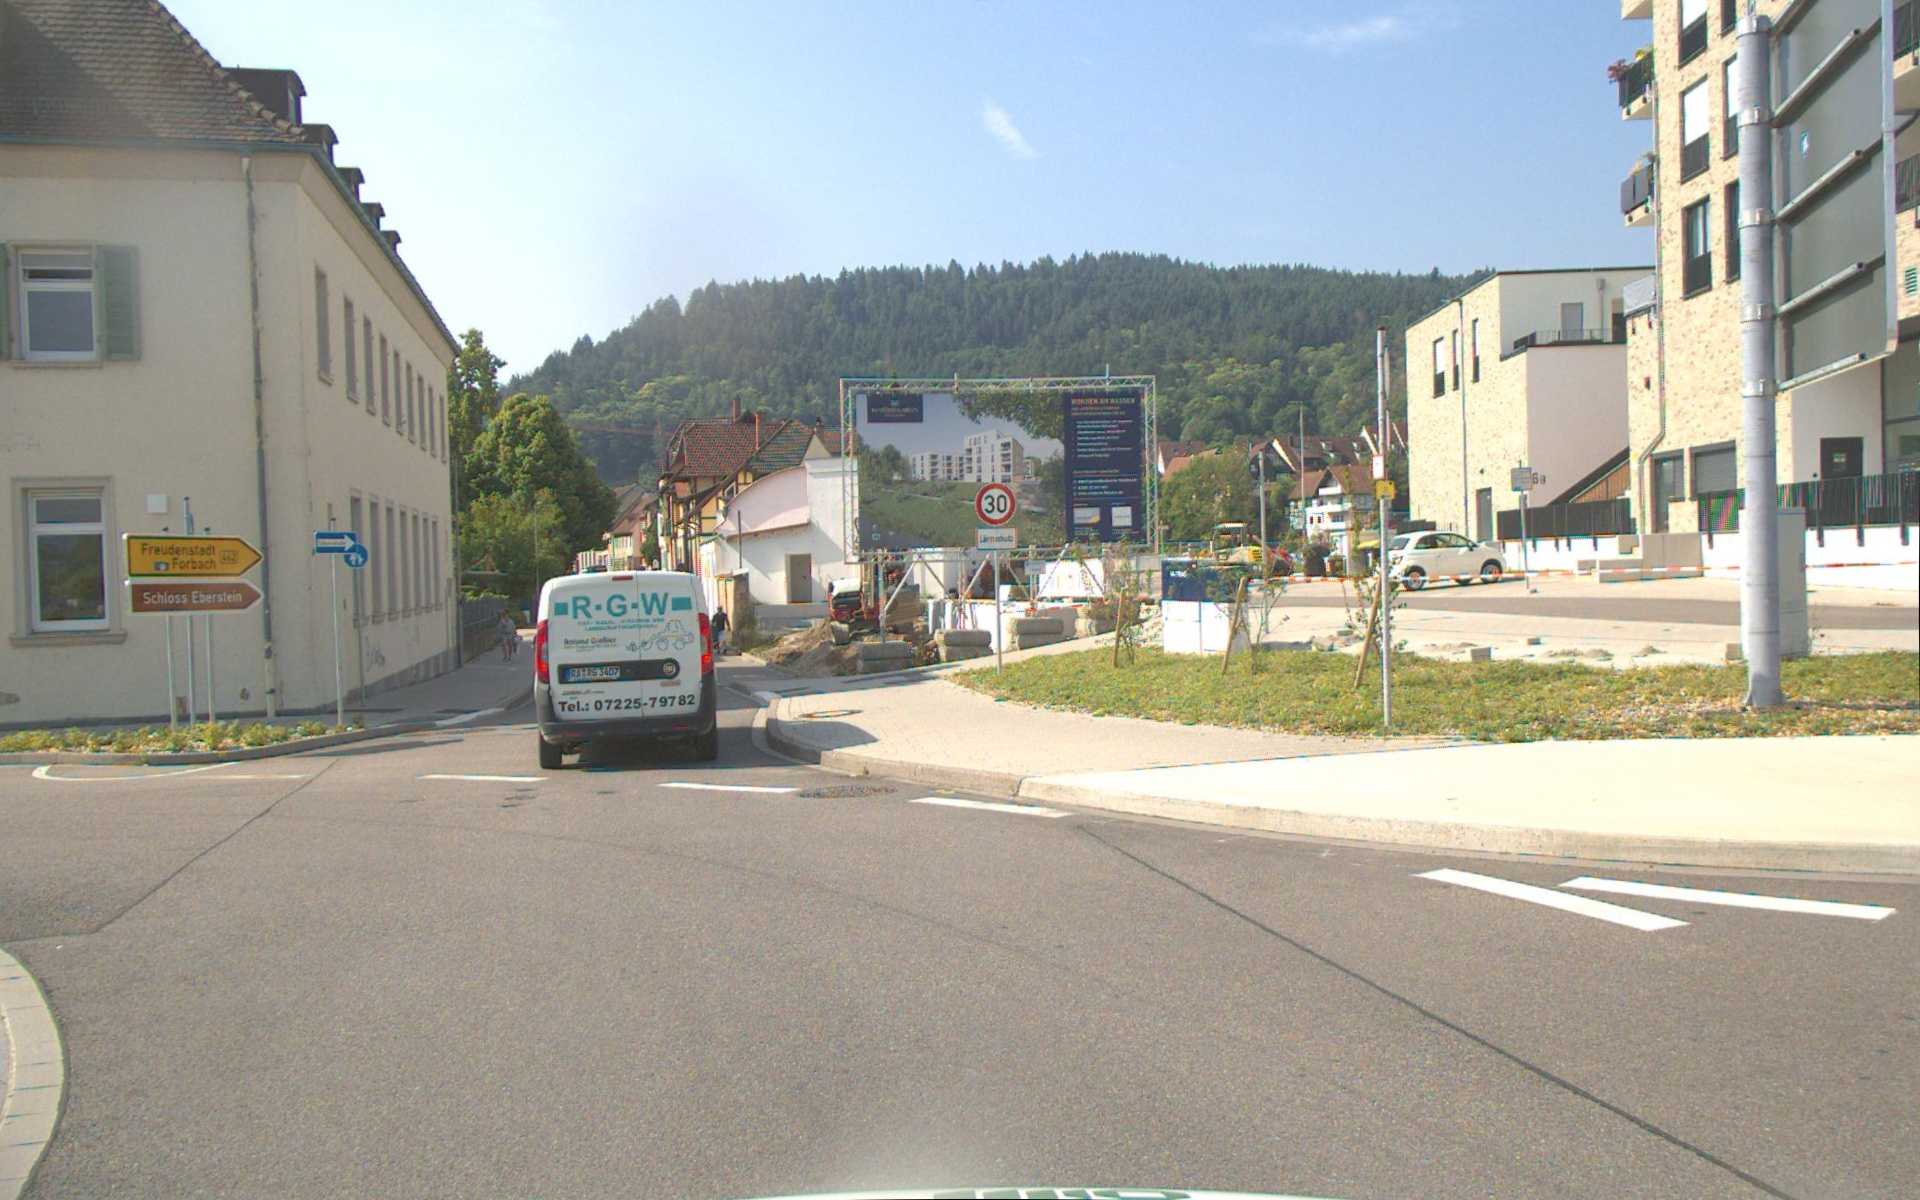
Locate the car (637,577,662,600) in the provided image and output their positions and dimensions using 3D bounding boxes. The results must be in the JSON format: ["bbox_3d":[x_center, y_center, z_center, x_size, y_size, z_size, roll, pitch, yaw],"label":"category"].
[{"bbox_3d":[-23.202,-0.845,123.558,1.779,1.624,3.915,0,1,-12],"label":"car"}]

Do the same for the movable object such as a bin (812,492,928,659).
[{"bbox_3d":[-2.452,-0.609,42.707,2.252,3.921,7.783,0,0,-8],"label":"movable object such as a bin"}]

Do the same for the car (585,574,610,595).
[{"bbox_3d":[-29.957,-1.274,136.496,1.781,1.624,3.910,0,1,-16],"label":"car"}]

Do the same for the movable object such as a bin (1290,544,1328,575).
[{"bbox_3d":[14.661,-1.702,69.532,1.270,1.290,1.320,0,2,-3],"label":"movable object such as a bin"}]

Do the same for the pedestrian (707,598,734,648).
[{"bbox_3d":[-8.343,0.801,57.681,0.873,1.712,0.716,0,0,-13],"label":"pedestrian"}]

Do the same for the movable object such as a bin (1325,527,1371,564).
[{"bbox_3d":[15.852,-2.210,67.622,1.548,1.489,1.320,0,2,-3],"label":"movable object such as a bin"}]

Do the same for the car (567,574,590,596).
[{"bbox_3d":[-52.200,-2.072,226.148,2.827,2.884,6.101,-3,2,-14],"label":"car"}]

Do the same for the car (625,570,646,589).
[{"bbox_3d":[-29.261,-1.854,149.111,1.642,1.534,3.985,-3,2,-14],"label":"car"}]

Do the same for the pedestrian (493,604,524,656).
[{"bbox_3d":[-14.894,0.991,54.585,0.941,1.659,0.755,-1,0,-13],"label":"pedestrian"}]

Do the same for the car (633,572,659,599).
[{"bbox_3d":[-25.327,-1.201,133.359,1.839,2.048,3.987,-1,1,-13],"label":"car"}]

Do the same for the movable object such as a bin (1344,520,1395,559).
[{"bbox_3d":[16.272,-2.405,65.818,1.659,1.489,1.320,0,2,-3],"label":"movable object such as a bin"}]

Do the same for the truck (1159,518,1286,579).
[{"bbox_3d":[11.498,-2.219,72.287,5.201,2.305,2.221,-3,1,13],"label":"truck"}]

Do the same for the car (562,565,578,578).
[{"bbox_3d":[-50.521,-3.650,214.109,1.782,1.624,3.909,0,1,-17],"label":"car"}]

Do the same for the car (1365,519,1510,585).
[{"bbox_3d":[12.776,-1.282,44.315,3.347,1.521,1.589,-3,0,-14],"label":"car"}]

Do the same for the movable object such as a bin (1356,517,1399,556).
[{"bbox_3d":[16.215,-2.481,64.315,1.273,1.489,1.320,0,2,-3],"label":"movable object such as a bin"}]

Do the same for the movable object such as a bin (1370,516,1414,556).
[{"bbox_3d":[16.411,-2.433,62.823,1.273,1.489,1.320,0,2,-3],"label":"movable object such as a bin"}]

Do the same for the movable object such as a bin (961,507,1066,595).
[{"bbox_3d":[2.415,-2.136,72.579,2.791,3.684,5.736,1,2,22],"label":"movable object such as a bin"}]

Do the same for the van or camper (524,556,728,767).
[{"bbox_3d":[-3.592,0.602,17.519,1.797,1.876,4.173,-3,0,-13],"label":"van or camper"}]

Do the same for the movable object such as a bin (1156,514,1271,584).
[{"bbox_3d":[10.603,-2.119,69.063,4.514,2.614,1.927,-3,1,13],"label":"movable object such as a bin"}]
